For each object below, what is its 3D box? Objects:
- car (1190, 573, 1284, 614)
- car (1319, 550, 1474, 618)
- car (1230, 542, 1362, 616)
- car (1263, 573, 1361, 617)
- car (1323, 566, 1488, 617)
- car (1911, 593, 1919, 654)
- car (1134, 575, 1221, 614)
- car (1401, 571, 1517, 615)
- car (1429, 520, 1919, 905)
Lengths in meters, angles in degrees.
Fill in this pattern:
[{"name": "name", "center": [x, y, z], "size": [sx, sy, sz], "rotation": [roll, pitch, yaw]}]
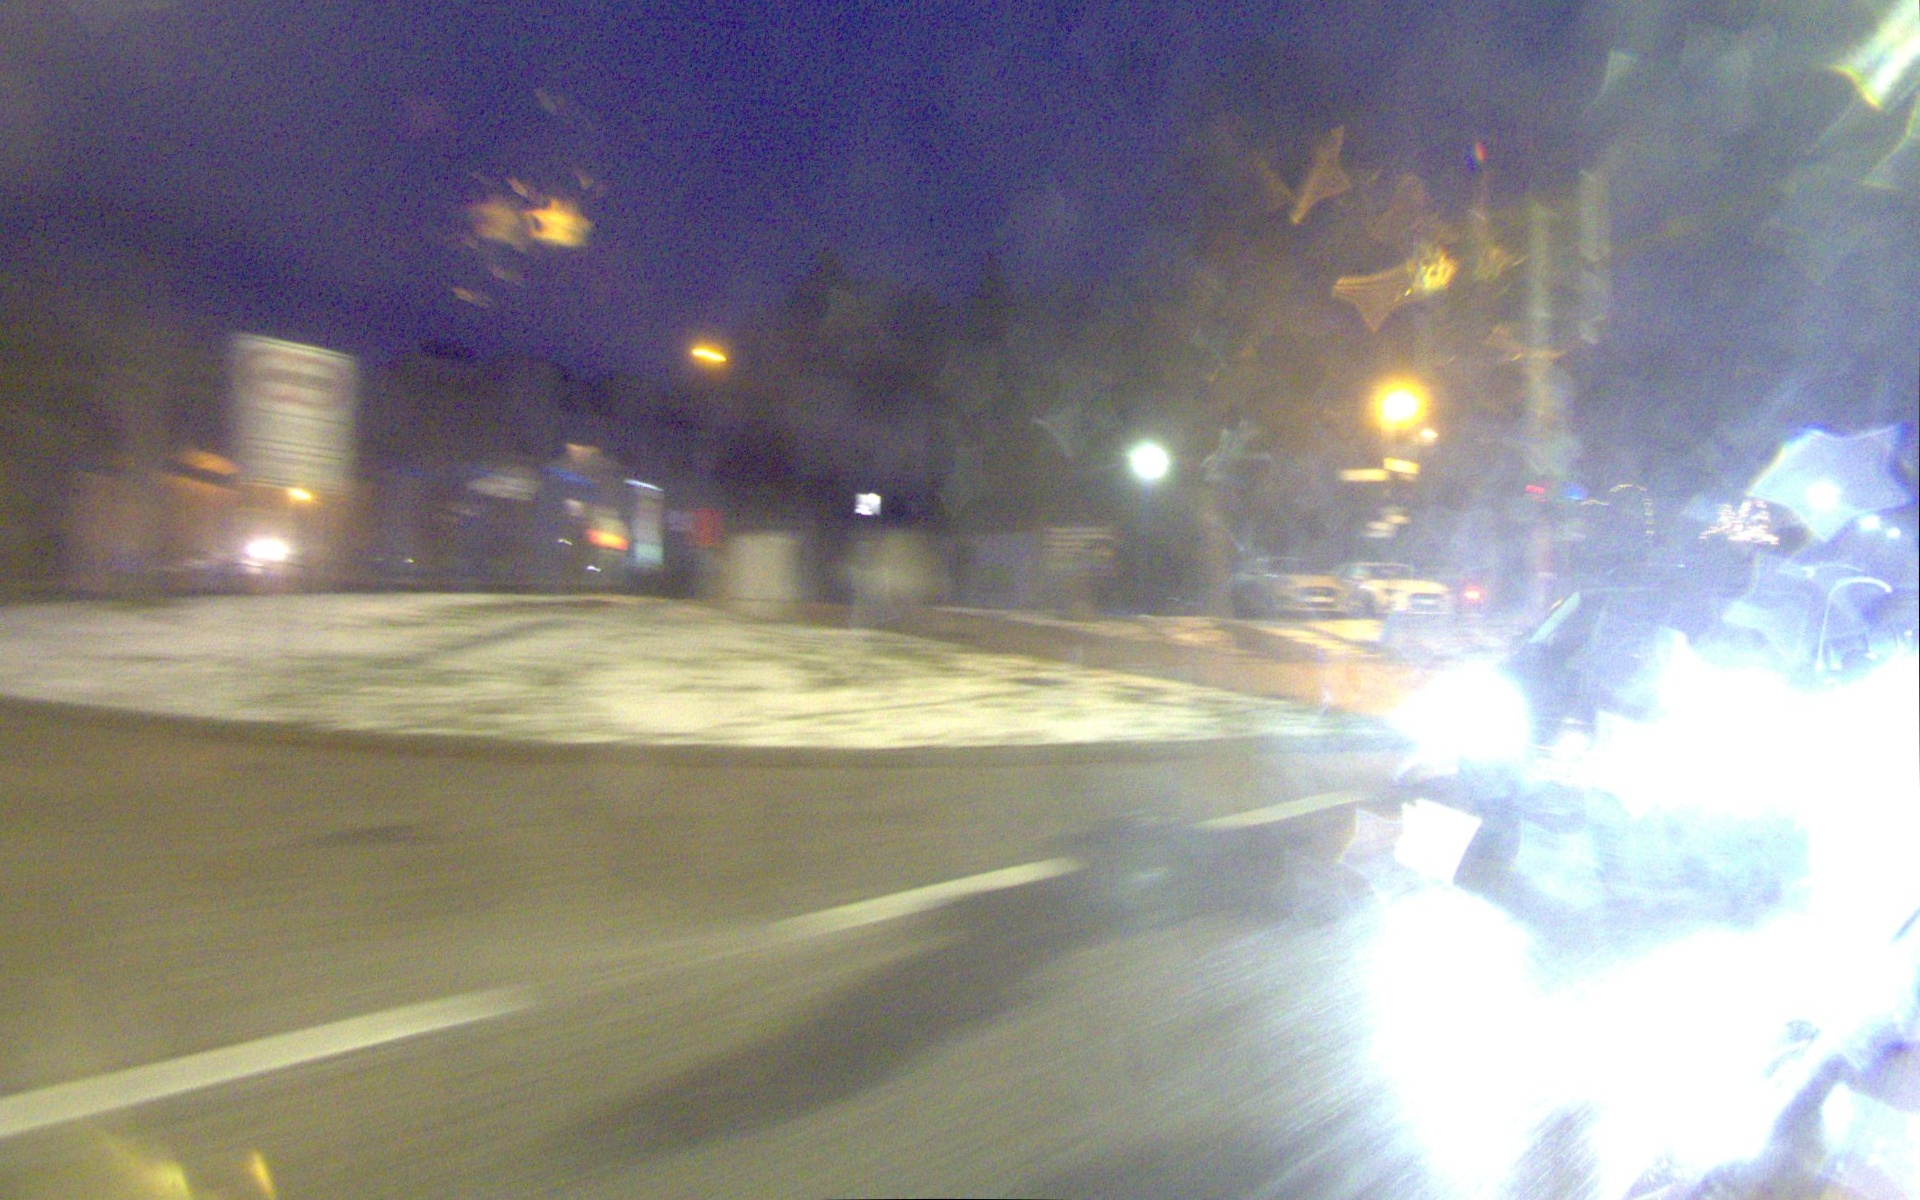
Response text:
[{"name": "car", "center": [9.912, -0.244, 36.529], "size": [1.693, 1.400, 4.007], "rotation": [1, 0, -10]}, {"name": "car", "center": [10.412, -0.370, 24.517], "size": [1.816, 1.478, 4.342], "rotation": [1, 0, -1]}, {"name": "car", "center": [7.922, -0.481, 24.230], "size": [1.798, 1.594, 3.888], "rotation": [1, 0, -1]}, {"name": "car", "center": [12.448, -0.181, 36.089], "size": [1.808, 1.448, 4.004], "rotation": [1, 0, -4]}, {"name": "car", "center": [14.210, -0.264, 32.342], "size": [4.609, 1.502, 1.729], "rotation": [1, 0, -10]}, {"name": "car", "center": [25.239, 0.659, 24.724], "size": [4.153, 1.460, 1.793], "rotation": [2, 1, -31]}, {"name": "car", "center": [7.738, -0.206, 36.346], "size": [1.625, 1.300, 4.007], "rotation": [1, 0, -11]}, {"name": "car", "center": [17.963, -0.263, 36.625], "size": [1.728, 1.505, 3.954], "rotation": [1, 0, -10]}, {"name": "car", "center": [5.239, 0.514, 6.908], "size": [4.854, 1.757, 1.838], "rotation": [1, 0, -41]}]
